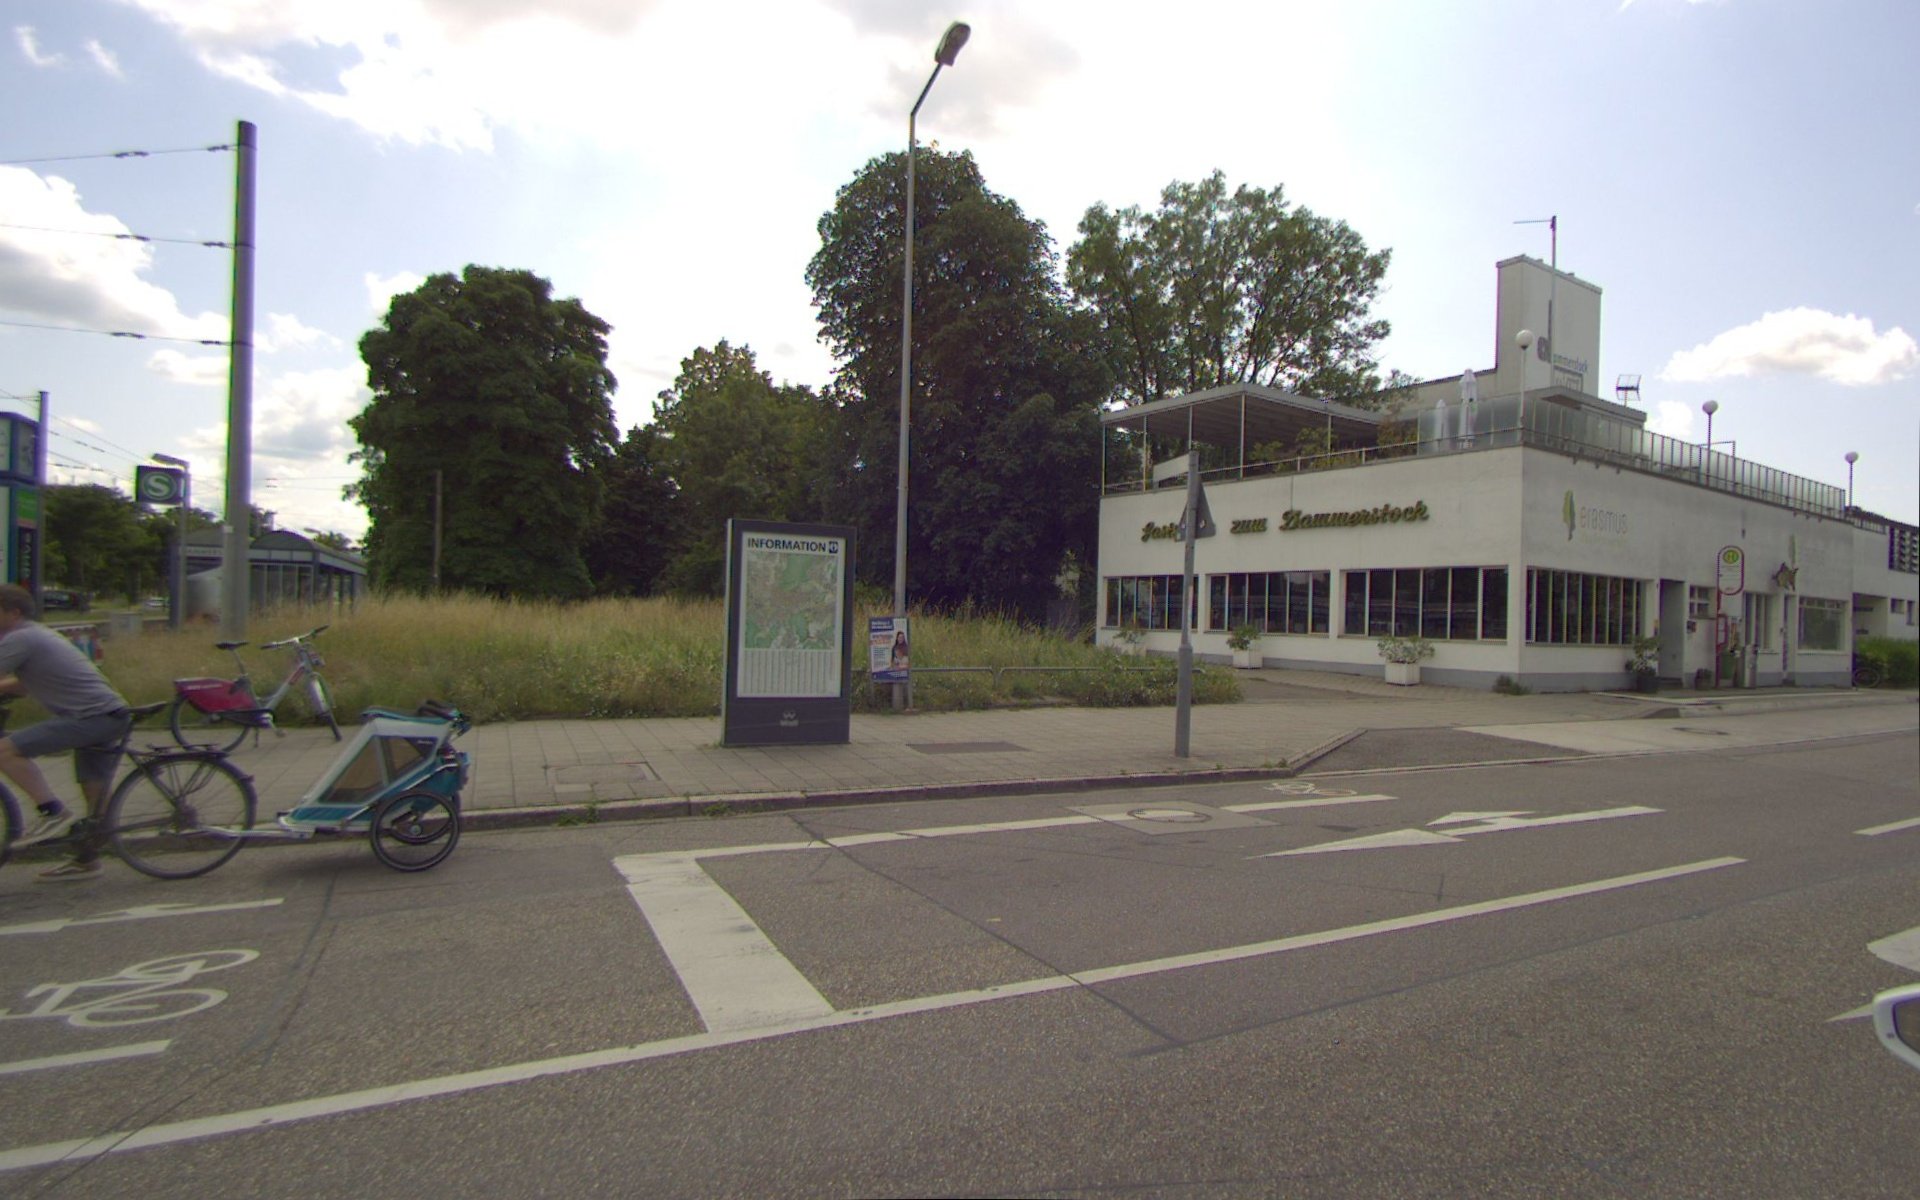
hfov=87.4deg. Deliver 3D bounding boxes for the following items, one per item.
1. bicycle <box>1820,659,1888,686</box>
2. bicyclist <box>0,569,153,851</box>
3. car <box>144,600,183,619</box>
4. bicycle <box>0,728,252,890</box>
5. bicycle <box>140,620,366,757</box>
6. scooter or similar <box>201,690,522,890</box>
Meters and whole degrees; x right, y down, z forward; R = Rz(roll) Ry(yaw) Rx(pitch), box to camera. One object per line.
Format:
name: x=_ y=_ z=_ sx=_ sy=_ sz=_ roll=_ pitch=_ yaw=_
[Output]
bicycle: x=29.313 y=2.375 z=32.959 sx=1.649 sy=0.767 sz=0.409 roll=0 pitch=-1 yaw=39
bicyclist: x=-5.108 y=0.590 z=5.589 sx=0.830 sy=1.495 sz=0.453 roll=2 pitch=-1 yaw=-24
car: x=-70.399 y=0.855 z=88.860 sx=1.768 sy=1.545 sz=4.272 roll=3 pitch=-2 yaw=-26
bicycle: x=-5.051 y=1.146 z=5.592 sx=1.703 sy=0.775 sz=0.552 roll=2 pitch=-1 yaw=-24
bicycle: x=-6.766 y=0.798 z=9.704 sx=0.689 sy=1.147 sz=1.657 roll=2 pitch=1 yaw=29
scooter or similar: x=-3.564 y=1.094 z=6.186 sx=1.557 sy=0.992 sz=0.957 roll=1 pitch=-1 yaw=-24
